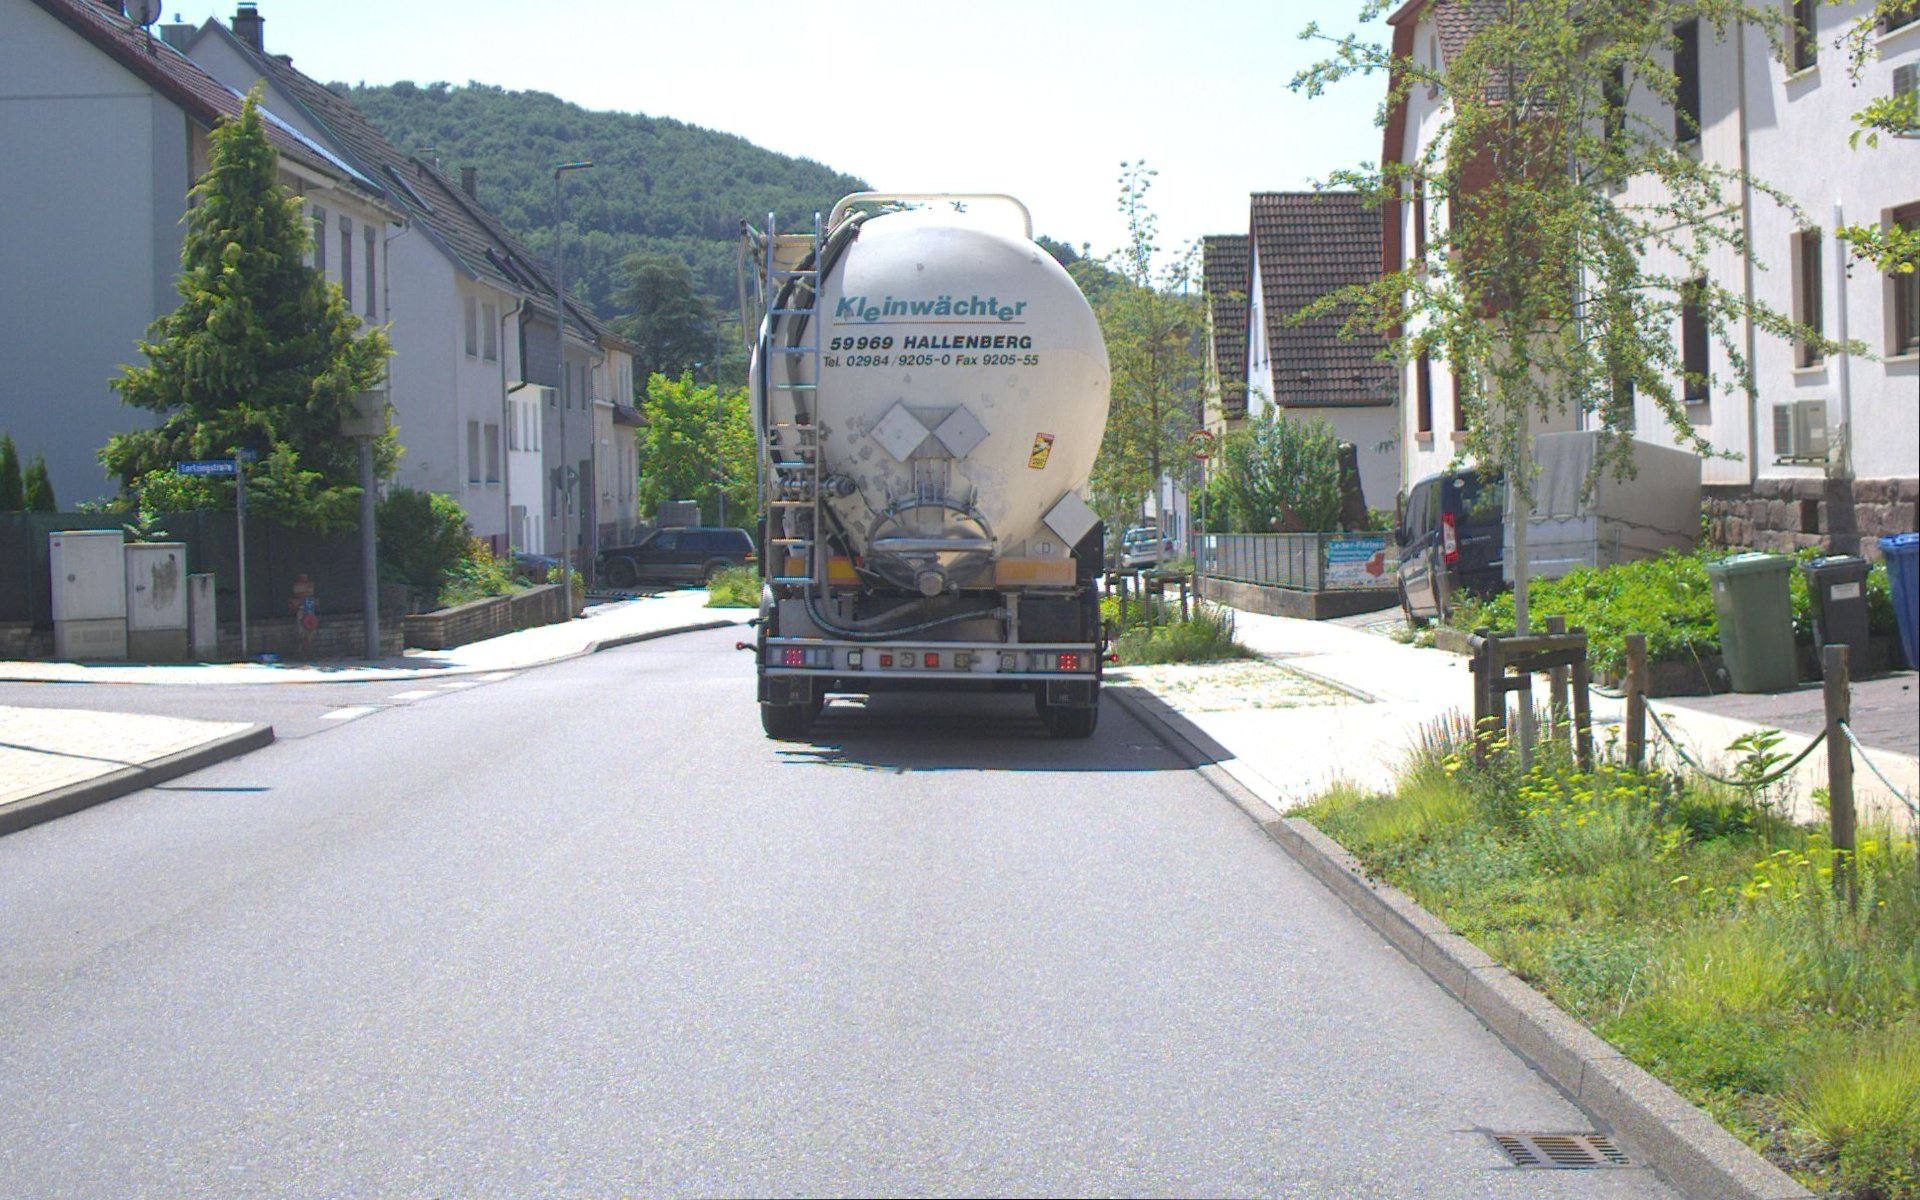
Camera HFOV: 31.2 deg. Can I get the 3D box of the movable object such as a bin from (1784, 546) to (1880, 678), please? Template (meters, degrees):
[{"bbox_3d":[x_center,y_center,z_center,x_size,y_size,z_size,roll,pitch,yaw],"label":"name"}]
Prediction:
[{"bbox_3d":[6.919,0.090,27.306,0.558,0.982,0.802,-5,0,6],"label":"movable object such as a bin"}]

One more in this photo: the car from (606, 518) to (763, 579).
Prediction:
[{"bbox_3d":[-7.945,-1.500,99.481,4.394,1.744,1.878,0,1,-1],"label":"car"}]

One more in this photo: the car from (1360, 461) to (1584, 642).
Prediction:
[{"bbox_3d":[6.077,-0.581,41.315,1.852,1.964,4.774,-3,1,0],"label":"car"}]

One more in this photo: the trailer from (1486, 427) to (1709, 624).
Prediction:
[{"bbox_3d":[6.777,-0.785,36.466,1.323,2.007,2.268,1,1,42],"label":"trailer"}]

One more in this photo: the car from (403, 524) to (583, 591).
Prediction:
[{"bbox_3d":[-10.944,-1.000,80.723,3.987,1.540,1.832,0,1,0],"label":"car"}]

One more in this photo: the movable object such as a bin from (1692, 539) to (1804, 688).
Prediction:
[{"bbox_3d":[6.227,0.100,27.181,0.684,1.111,0.812,-4,0,5],"label":"movable object such as a bin"}]

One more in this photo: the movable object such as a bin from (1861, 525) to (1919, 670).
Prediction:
[{"bbox_3d":[7.597,-0.037,27.257,0.685,1.102,0.862,-4,0,6],"label":"movable object such as a bin"}]

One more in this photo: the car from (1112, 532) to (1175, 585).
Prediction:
[{"bbox_3d":[5.842,-1.336,109.989,1.791,1.536,4.519,-3,1,1],"label":"car"}]

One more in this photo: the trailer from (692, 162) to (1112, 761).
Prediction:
[{"bbox_3d":[-0.445,-1.051,28.091,2.796,3.987,10.325,0,1,-1],"label":"trailer"}]

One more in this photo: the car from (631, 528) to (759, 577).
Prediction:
[{"bbox_3d":[-7.997,-1.420,103.583,3.547,1.434,1.695,0,1,34],"label":"car"}]
